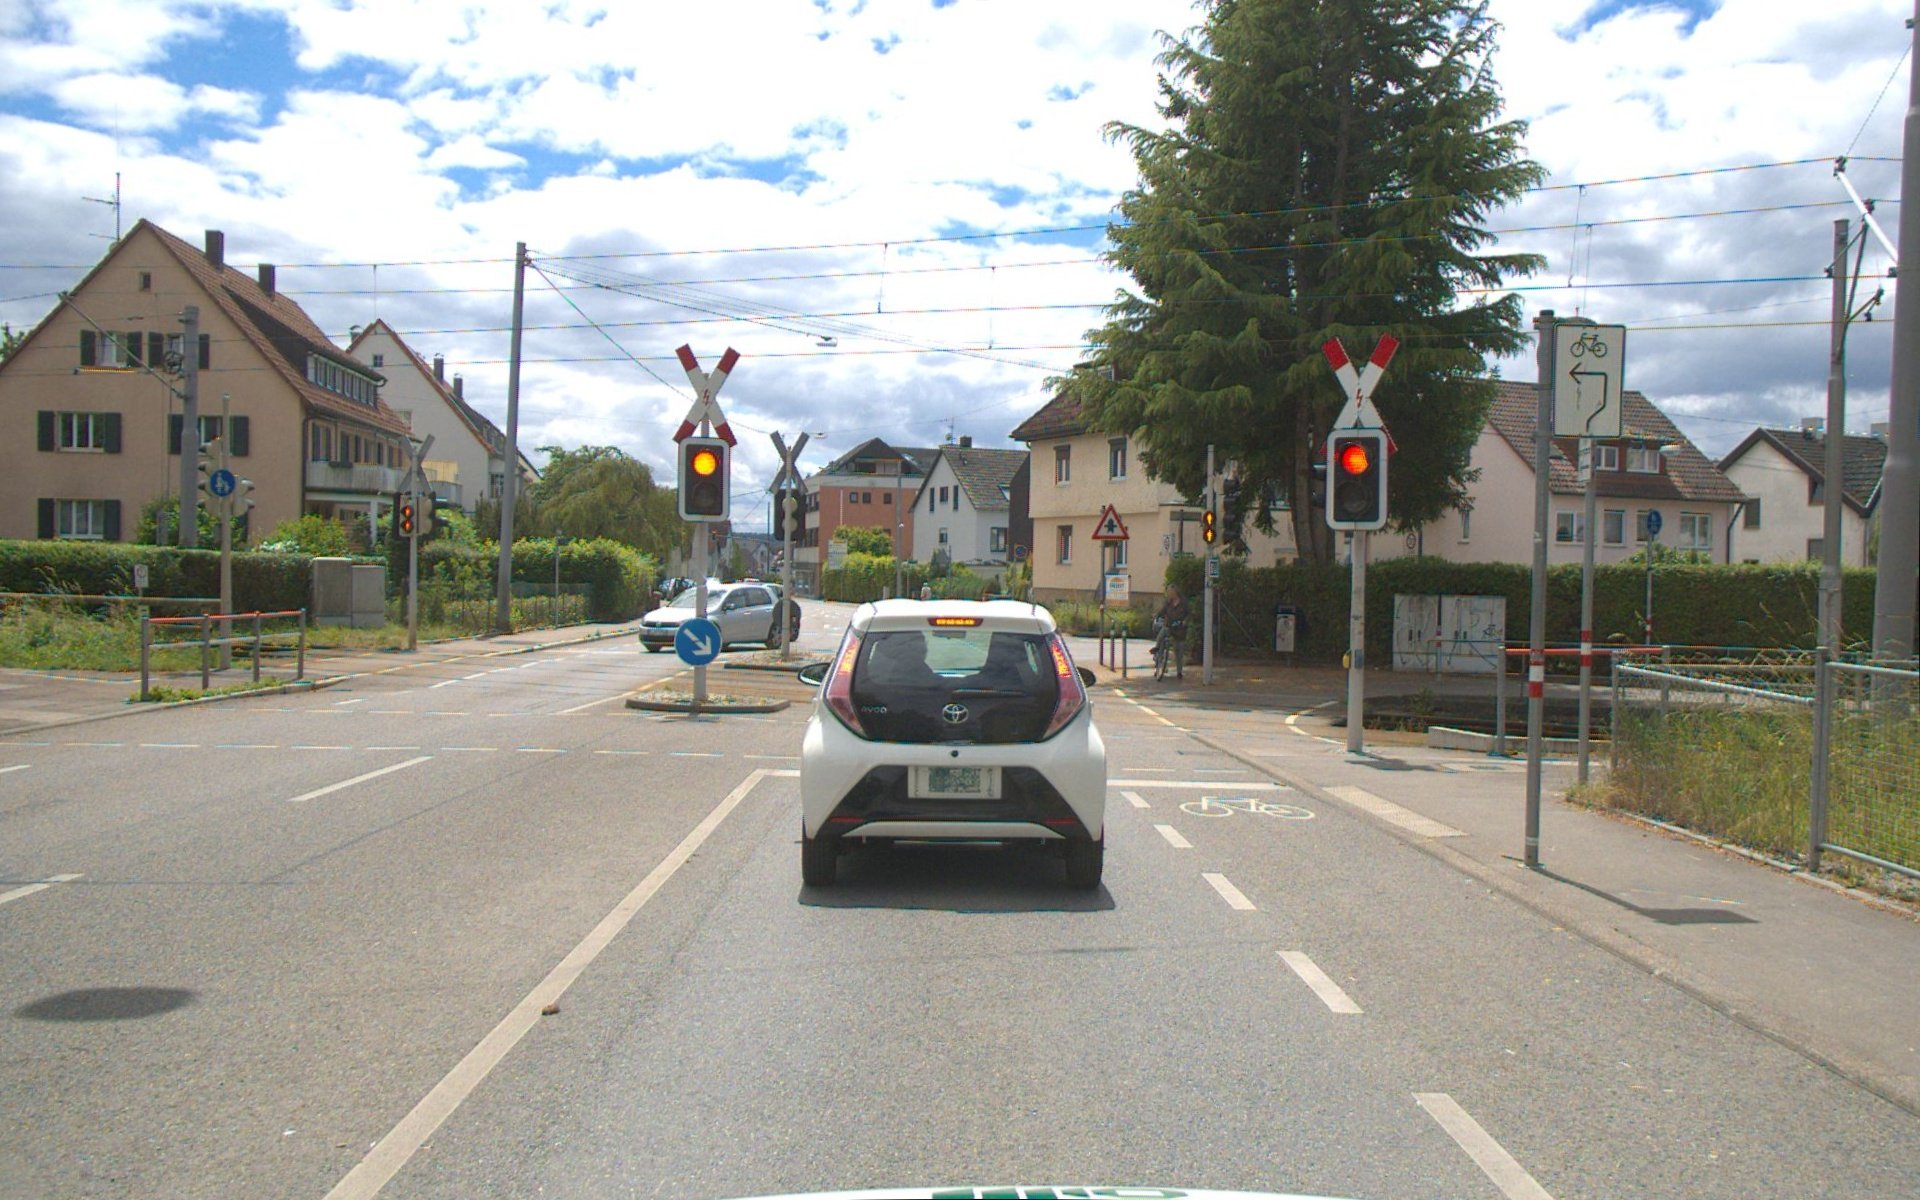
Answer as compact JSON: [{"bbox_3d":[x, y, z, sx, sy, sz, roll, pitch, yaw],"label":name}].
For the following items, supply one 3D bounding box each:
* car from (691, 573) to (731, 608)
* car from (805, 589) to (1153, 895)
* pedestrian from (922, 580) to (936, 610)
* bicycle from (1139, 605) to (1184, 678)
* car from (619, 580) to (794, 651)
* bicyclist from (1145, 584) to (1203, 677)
[{"bbox_3d":[-13.305,-0.507,88.486,1.956,1.749,3.994,2,0,-7],"label":"car"},{"bbox_3d":[-0.033,0.698,10.031,1.687,1.467,3.705,2,0,-4],"label":"car"},{"bbox_3d":[-1.702,-0.268,91.021,0.711,1.604,0.803,2,0,-1],"label":"pedestrian"},{"bbox_3d":[3.599,0.731,29.655,0.448,1.192,1.477,-2,3,-6],"label":"bicycle"},{"bbox_3d":[-5.701,0.359,37.658,1.868,1.466,4.094,2,0,27],"label":"car"},{"bbox_3d":[3.805,0.538,29.455,0.825,1.580,0.755,-2,3,-7],"label":"bicyclist"}]
